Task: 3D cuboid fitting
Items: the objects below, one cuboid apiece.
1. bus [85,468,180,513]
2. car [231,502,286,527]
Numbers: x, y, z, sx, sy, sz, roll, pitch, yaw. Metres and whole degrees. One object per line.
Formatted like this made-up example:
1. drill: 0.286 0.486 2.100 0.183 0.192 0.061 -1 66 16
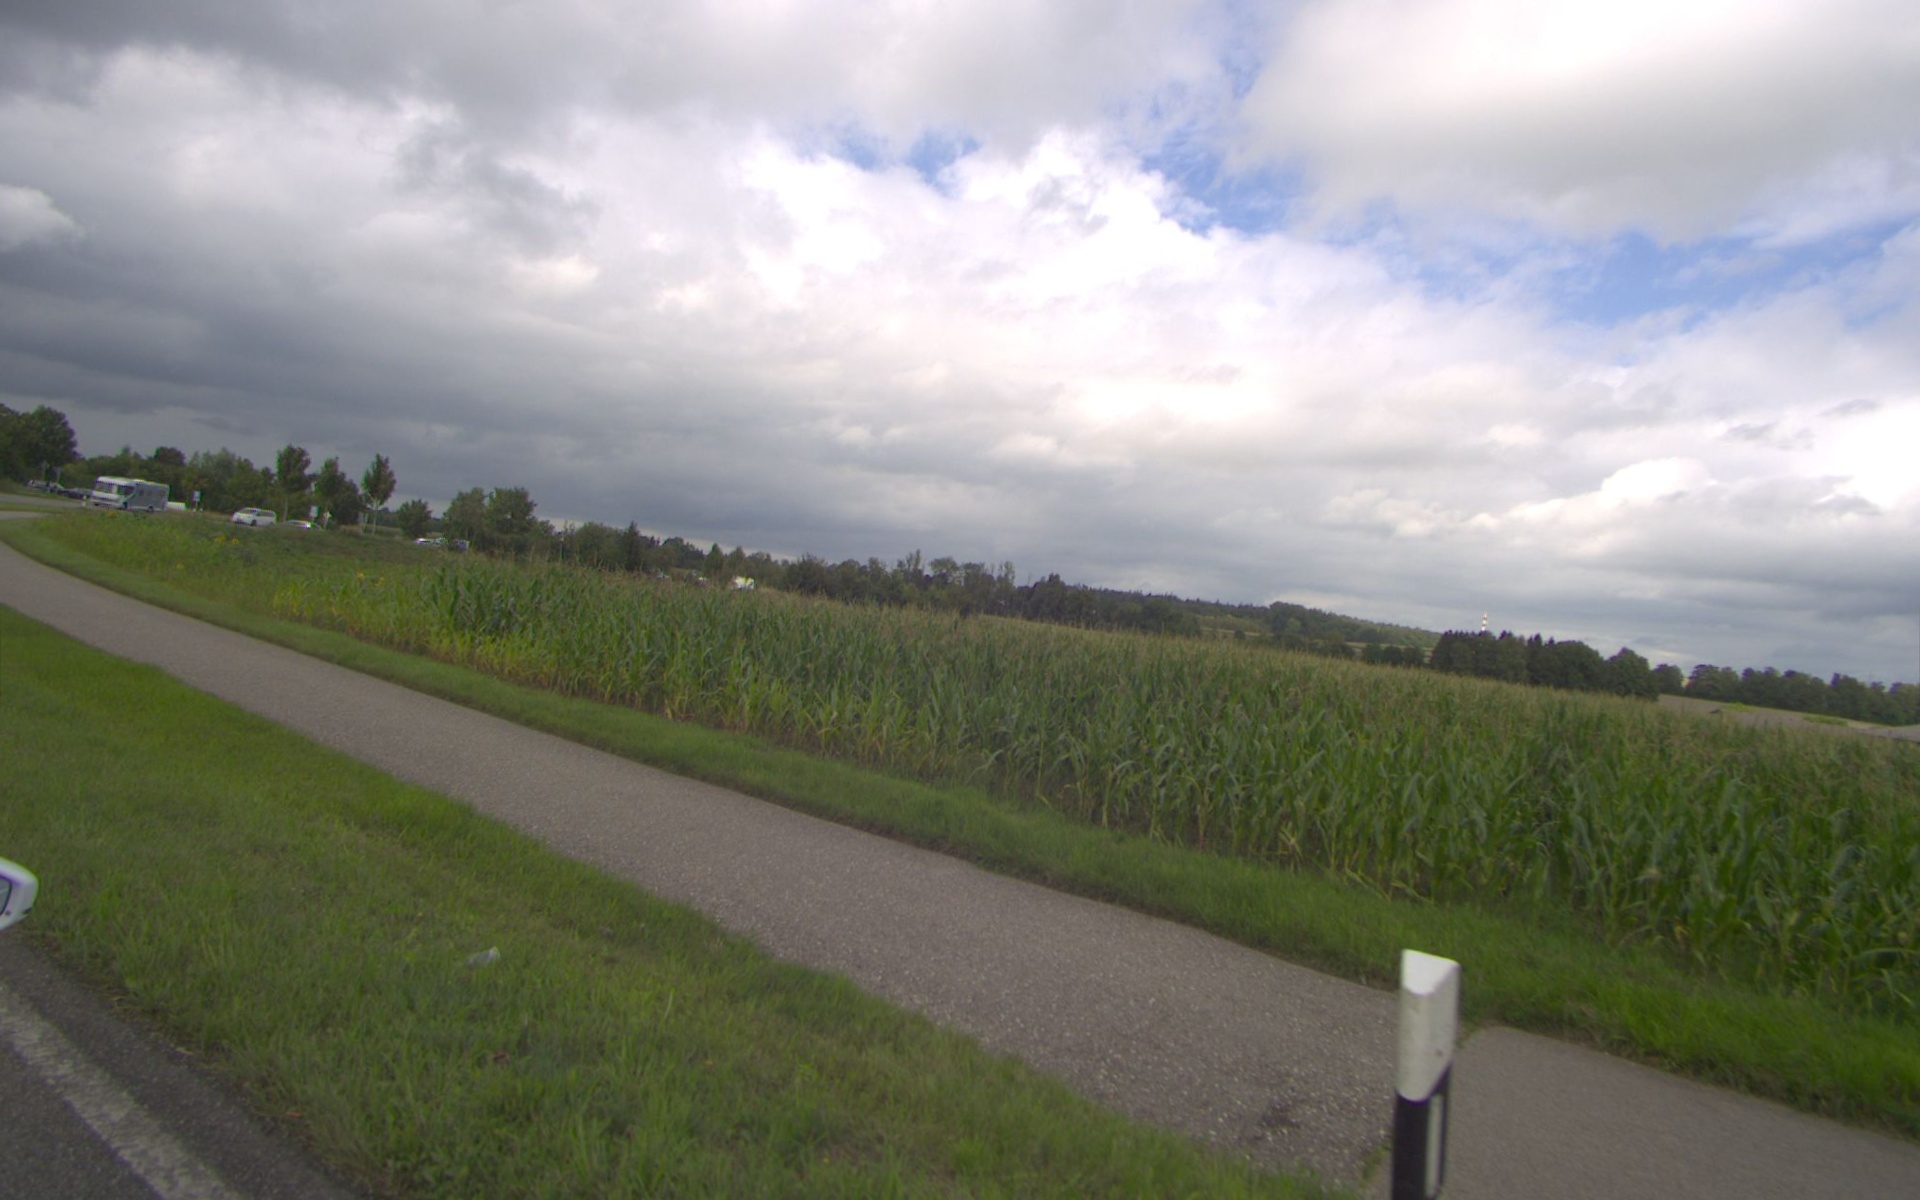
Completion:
1. bus: -72.837 -9.541 88.795 2.442 2.743 8.415 8 -1 -10
2. car: -75.514 -9.207 108.339 2.081 1.891 5.186 8 -1 0
